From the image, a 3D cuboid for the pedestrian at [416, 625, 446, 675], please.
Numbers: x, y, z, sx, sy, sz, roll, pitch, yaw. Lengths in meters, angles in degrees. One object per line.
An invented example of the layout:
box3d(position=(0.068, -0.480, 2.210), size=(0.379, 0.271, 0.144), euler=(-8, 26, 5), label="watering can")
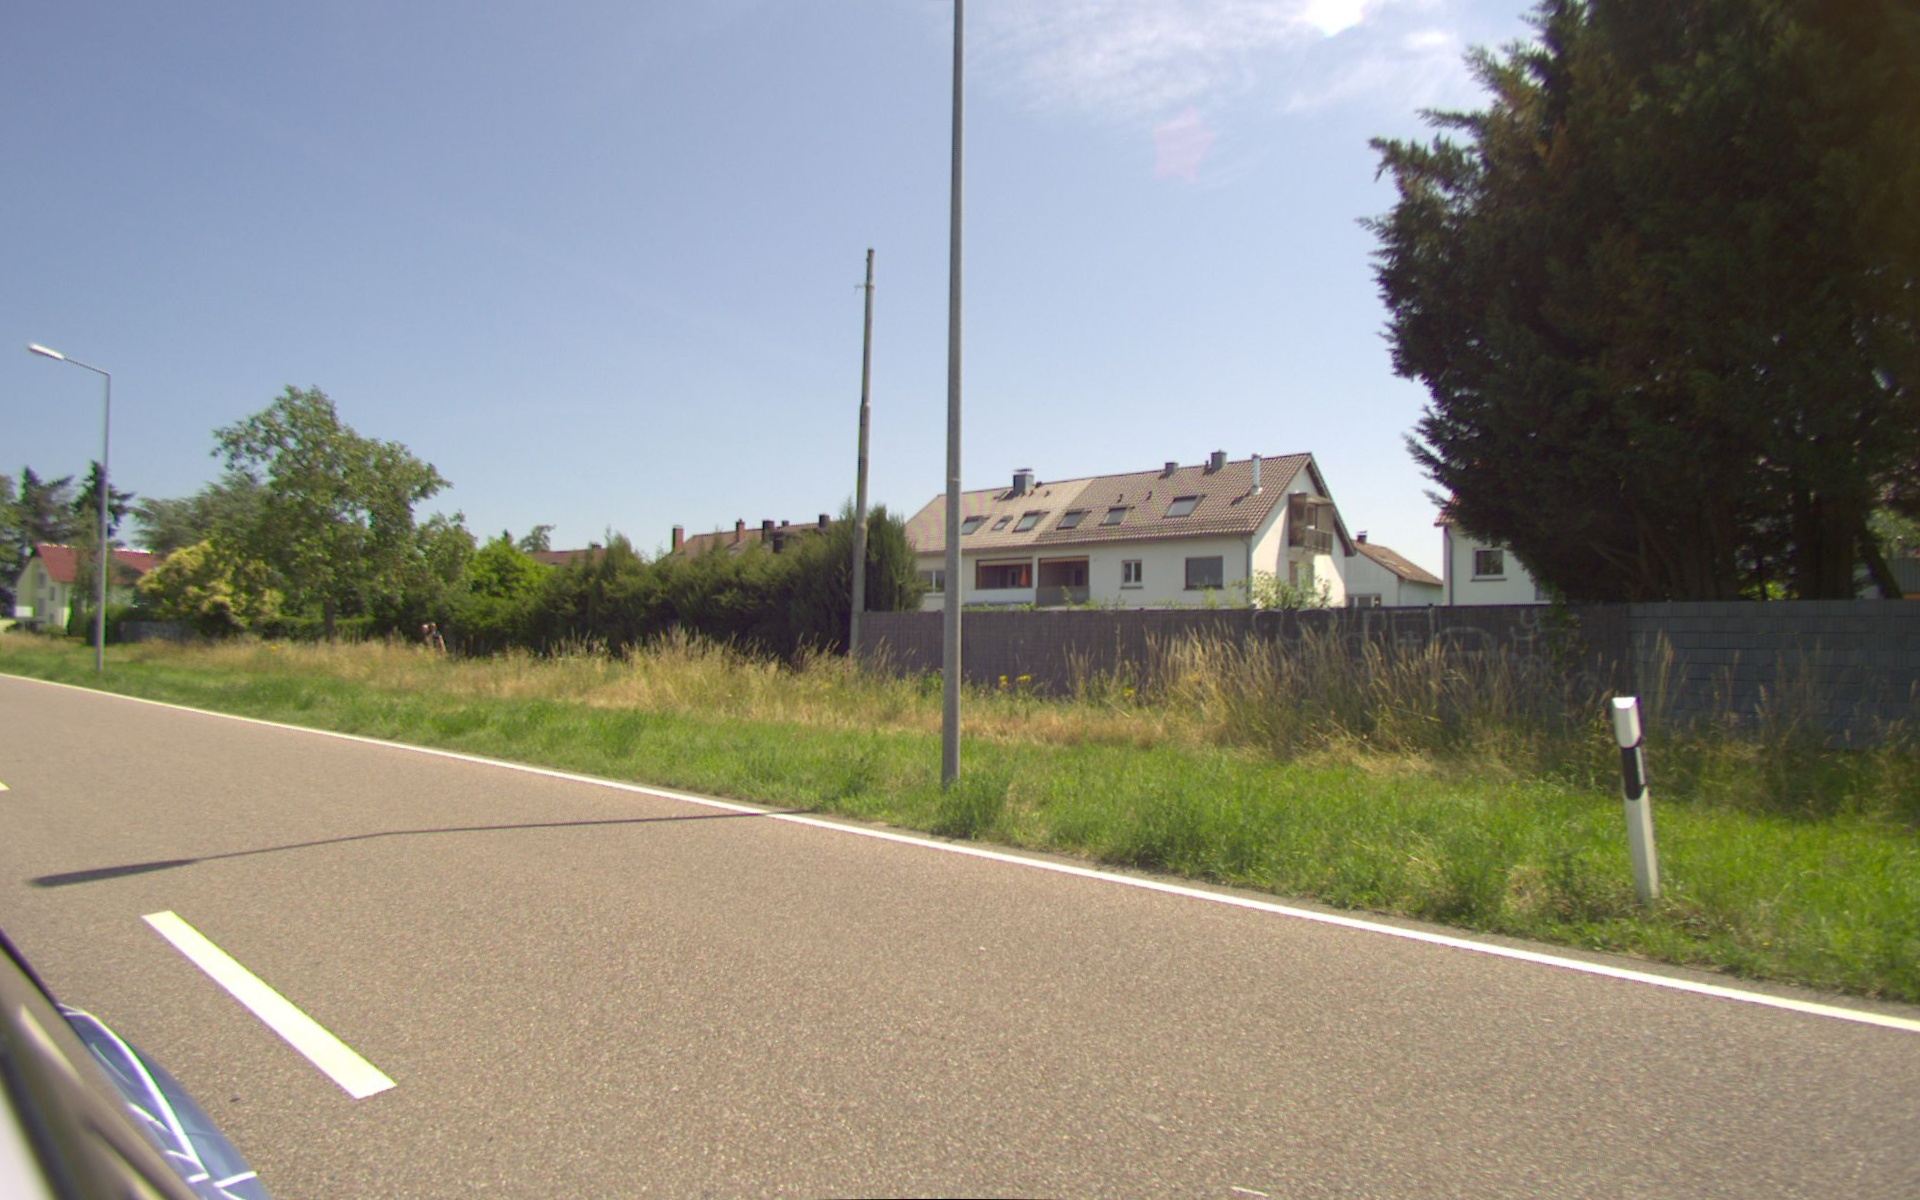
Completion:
box3d(position=(-16.106, 1.523, 30.829), size=(0.633, 1.489, 0.603), euler=(-1, -2, 40), label="pedestrian")
